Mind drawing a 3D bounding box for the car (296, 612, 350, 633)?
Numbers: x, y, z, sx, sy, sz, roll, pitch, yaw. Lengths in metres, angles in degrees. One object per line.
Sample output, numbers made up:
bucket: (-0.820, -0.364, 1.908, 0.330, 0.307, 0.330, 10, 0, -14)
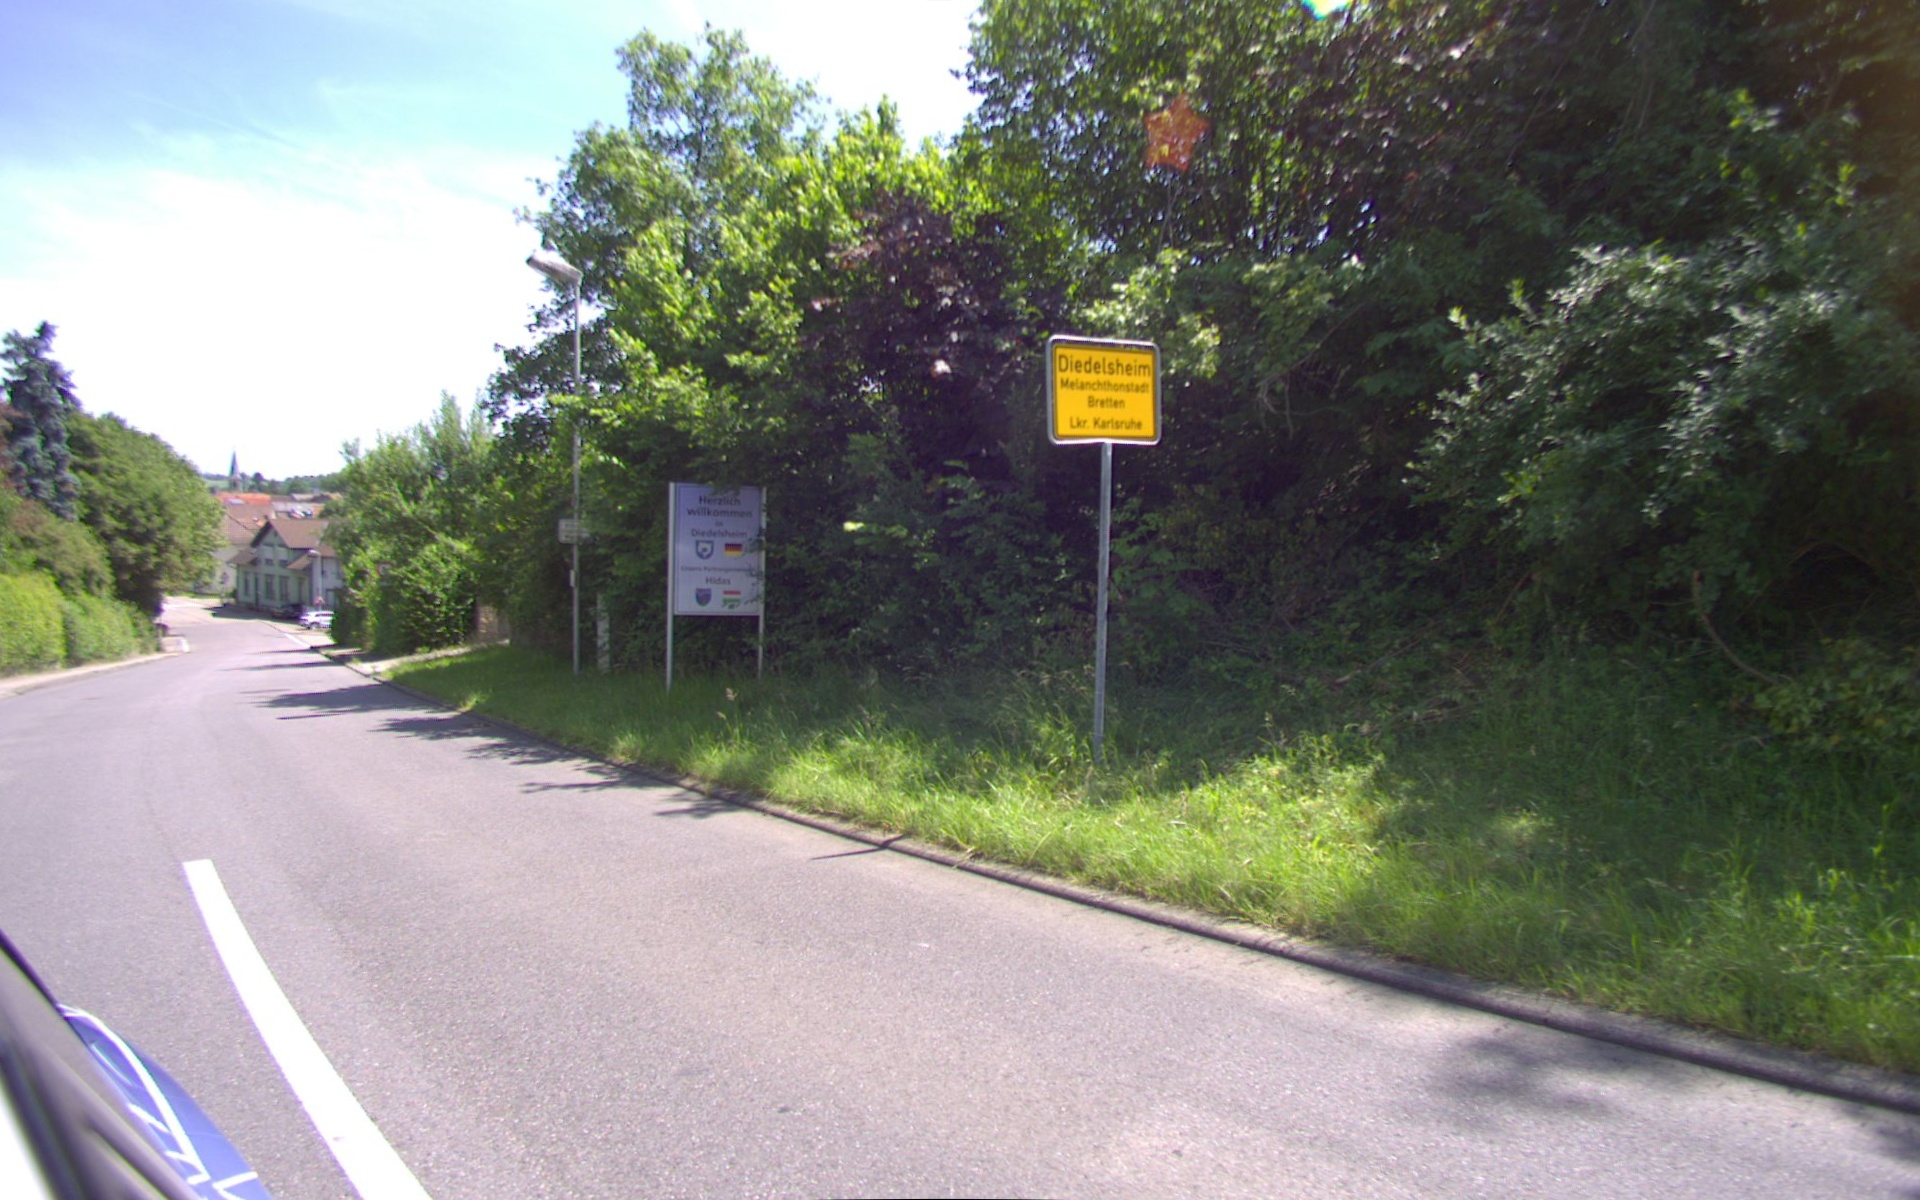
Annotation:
car: (-54.123, 1.907, 86.029, 1.516, 1.395, 3.533, 1, 5, 43)
